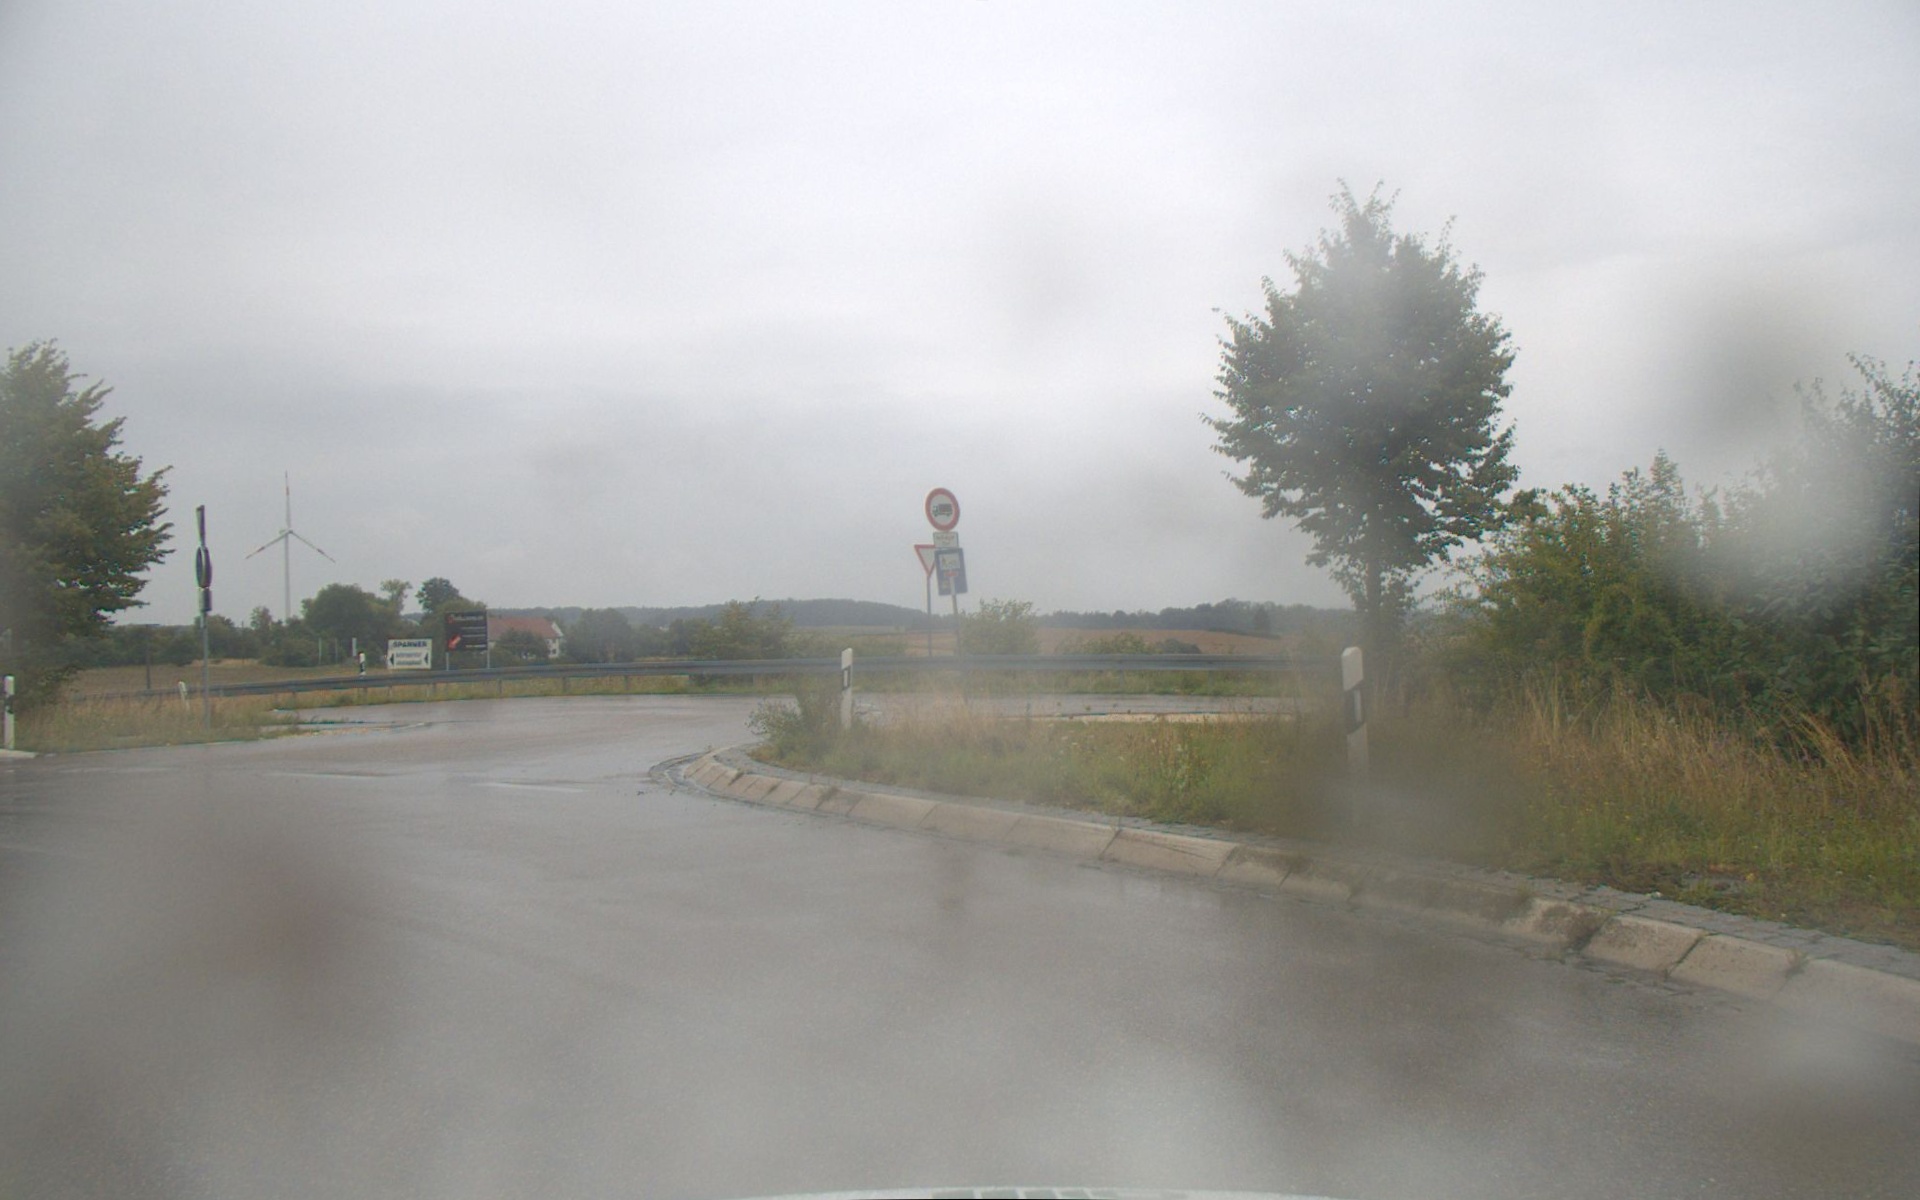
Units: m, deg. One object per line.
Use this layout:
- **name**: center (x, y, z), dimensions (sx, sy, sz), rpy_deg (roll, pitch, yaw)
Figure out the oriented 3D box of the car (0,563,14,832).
- **car**: center (-9.357, 0.731, 12.101), dimensions (4.868, 1.903, 1.997), rpy_deg (-1, 0, 29)
